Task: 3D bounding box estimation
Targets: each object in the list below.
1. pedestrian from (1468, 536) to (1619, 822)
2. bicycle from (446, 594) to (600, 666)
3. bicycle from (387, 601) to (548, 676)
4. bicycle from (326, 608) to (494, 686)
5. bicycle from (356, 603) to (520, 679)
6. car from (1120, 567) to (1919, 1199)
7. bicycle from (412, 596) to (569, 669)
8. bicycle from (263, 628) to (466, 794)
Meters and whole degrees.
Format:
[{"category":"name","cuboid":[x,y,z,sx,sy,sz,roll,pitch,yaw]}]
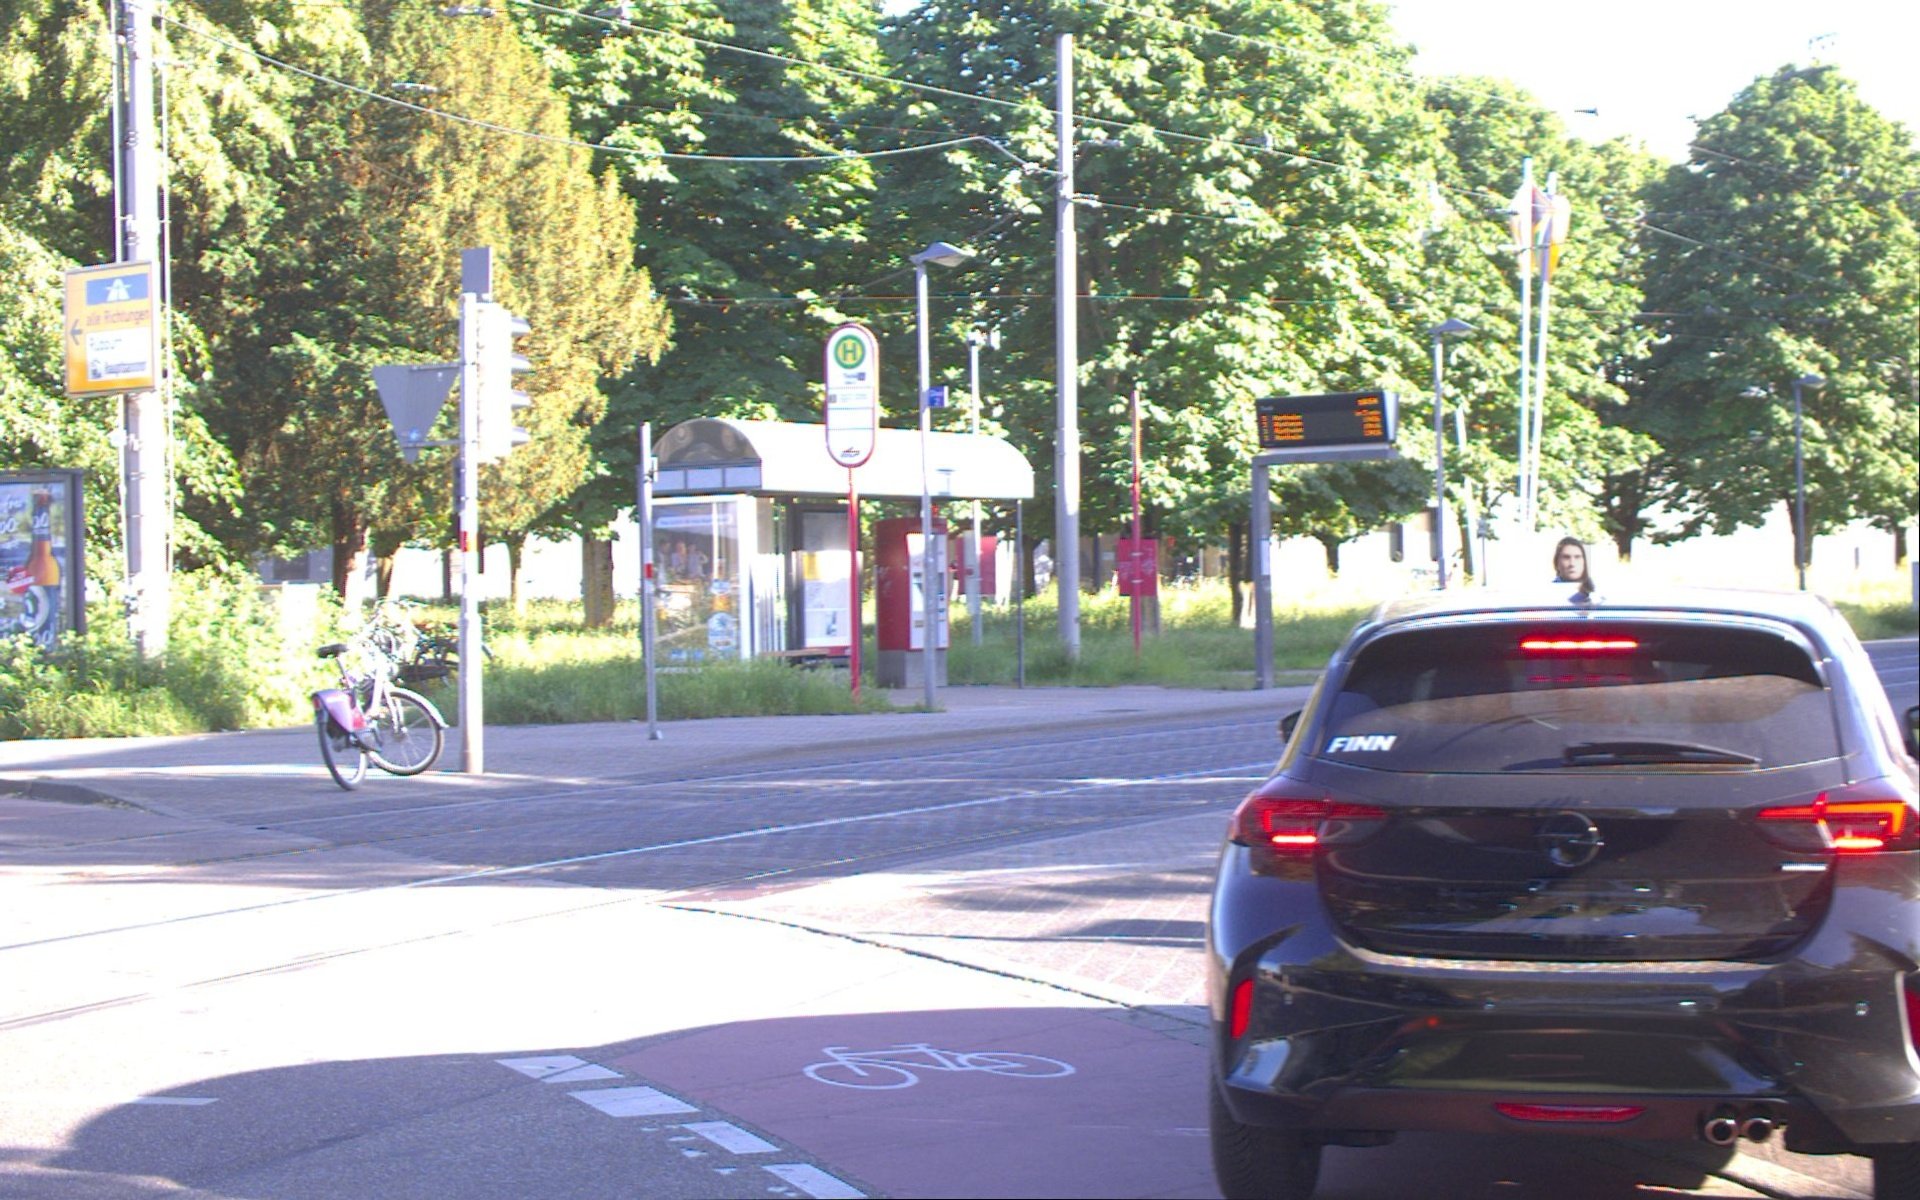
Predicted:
[{"category":"pedestrian","cuboid":[3.528,0.462,20.755,0.726,1.687,0.700,-1,1,23]},{"category":"bicycle","cuboid":[-5.725,0.395,45.074,1.878,0.903,0.659,-1,1,13]},{"category":"bicycle","cuboid":[-6.198,0.485,43.260,1.878,0.903,0.659,-1,1,13]},{"category":"bicycle","cuboid":[-6.626,0.566,41.442,1.878,0.903,0.659,-1,1,13]},{"category":"bicycle","cuboid":[-6.433,0.504,42.411,1.878,0.903,0.659,-1,1,13]},{"category":"car","cuboid":[1.659,0.661,8.996,1.801,1.436,3.938,-1,1,13]},{"category":"bicycle","cuboid":[-6.031,0.418,44.218,1.878,0.903,0.659,-1,1,13]},{"category":"bicycle","cuboid":[-4.104,0.752,23.848,0.825,1.056,1.882,-1,1,8]}]
